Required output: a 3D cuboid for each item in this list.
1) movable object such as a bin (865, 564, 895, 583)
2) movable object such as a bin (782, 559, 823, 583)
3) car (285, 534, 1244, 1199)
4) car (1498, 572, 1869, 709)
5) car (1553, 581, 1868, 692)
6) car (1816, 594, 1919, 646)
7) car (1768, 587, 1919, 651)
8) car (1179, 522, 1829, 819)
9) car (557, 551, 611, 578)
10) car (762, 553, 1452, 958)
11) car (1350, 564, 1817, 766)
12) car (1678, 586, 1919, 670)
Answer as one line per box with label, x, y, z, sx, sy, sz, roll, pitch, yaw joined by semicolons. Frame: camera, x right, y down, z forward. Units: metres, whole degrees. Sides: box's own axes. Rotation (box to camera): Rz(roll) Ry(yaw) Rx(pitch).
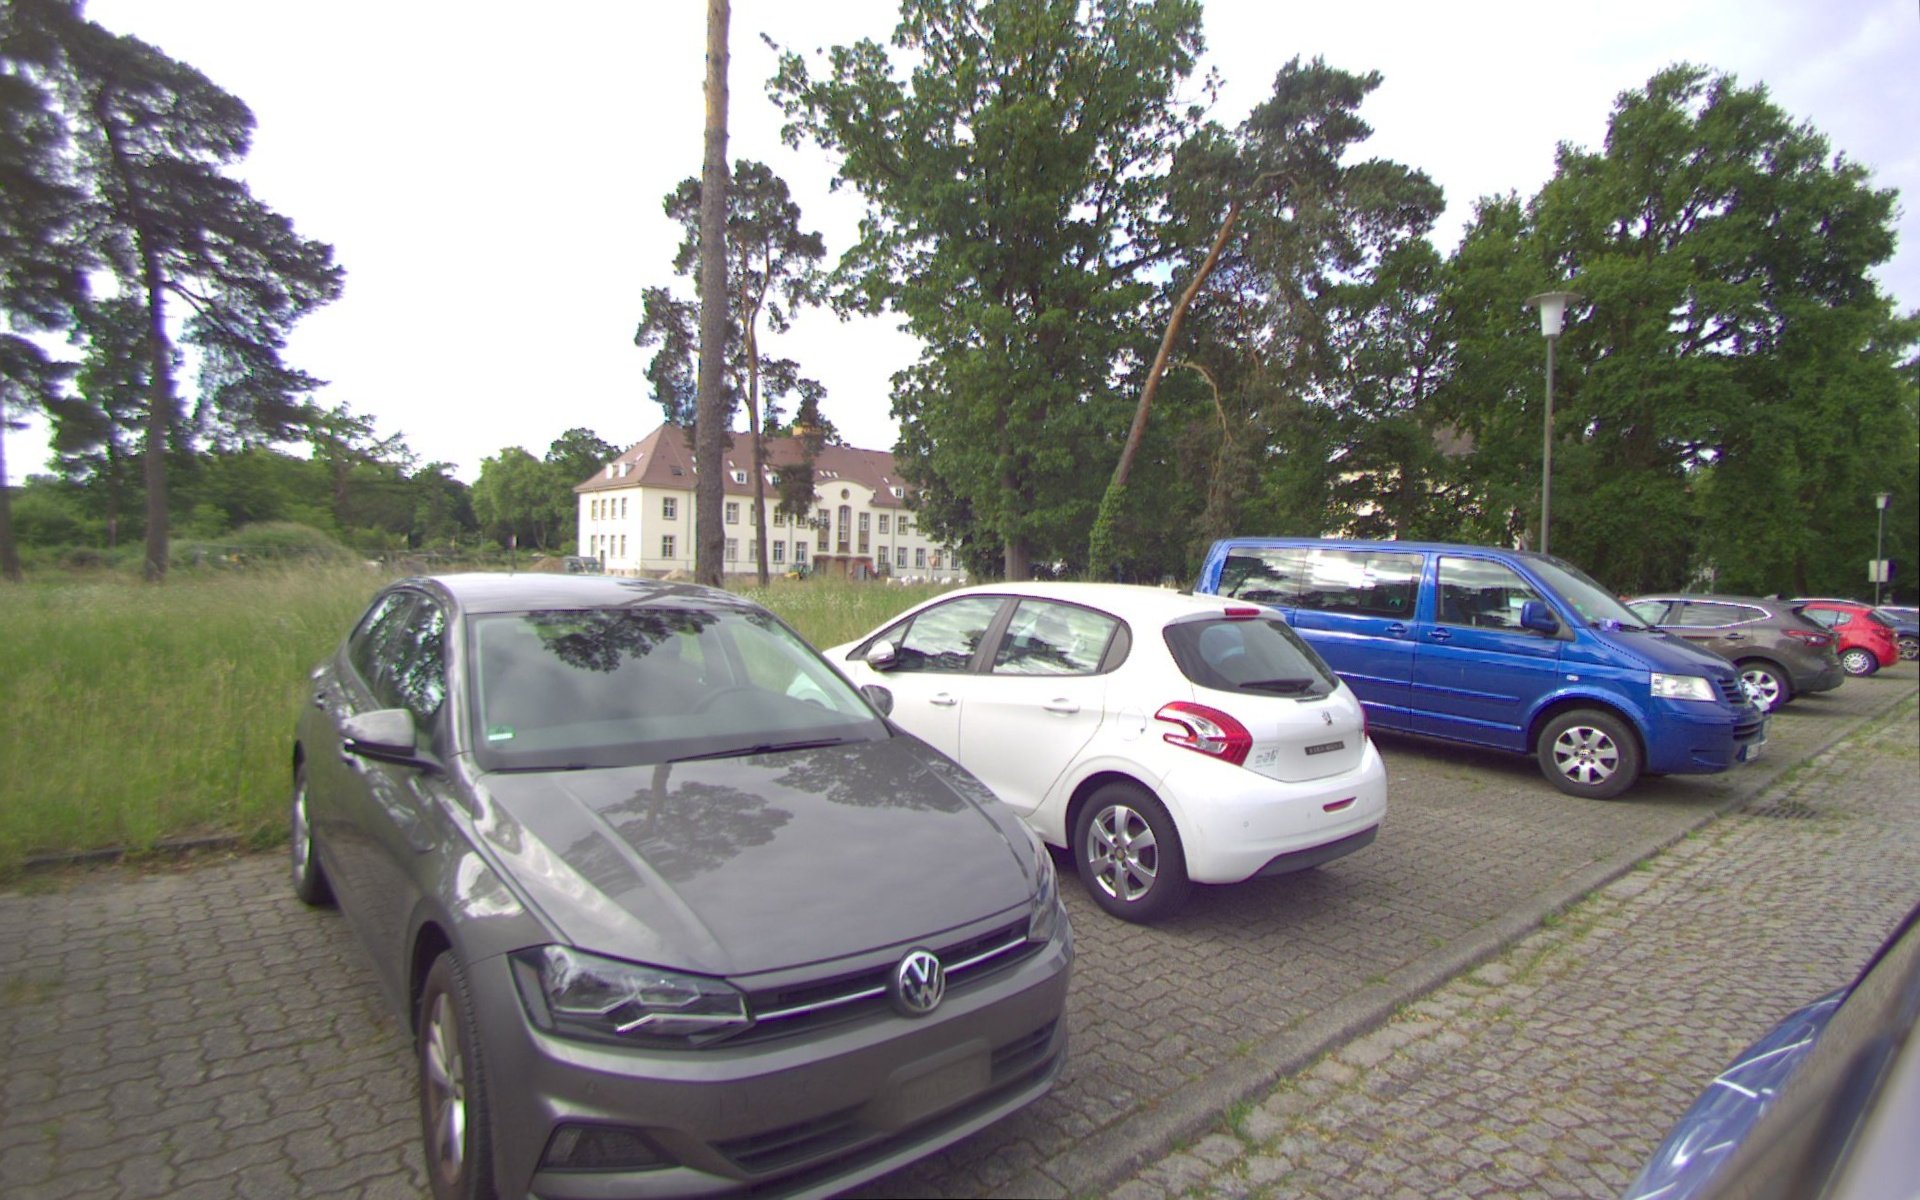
movable object such as a bin;-8.895;-2.970;112.756;2.933;2.038;1.552;0;2;-41
movable object such as a bin;-14.240;-2.634;91.433;3.181;2.038;1.682;0;1;-34
car;-1.148;0.576;3.740;1.728;1.490;3.870;0;4;-41
car;10.837;0.487;15.412;1.791;1.618;4.267;0;3;-42
car;12.707;0.522;17.345;1.735;1.504;4.015;0;3;-41
car;29.477;0.657;31.682;1.555;1.443;3.874;0;3;-42
car;25.862;0.527;28.862;1.555;1.557;4.146;0;3;-42
car;4.641;0.346;9.312;1.969;1.969;4.816;0;4;-42
car;-35.438;-3.320;95.251;5.847;2.268;2.283;5;3;42
car;0.558;0.554;6.050;1.727;1.490;3.872;0;4;-40
car;6.554;0.527;10.948;1.810;1.489;3.871;0;6;-43
car;18.313;0.544;22.205;1.555;1.477;3.891;0;3;-42
